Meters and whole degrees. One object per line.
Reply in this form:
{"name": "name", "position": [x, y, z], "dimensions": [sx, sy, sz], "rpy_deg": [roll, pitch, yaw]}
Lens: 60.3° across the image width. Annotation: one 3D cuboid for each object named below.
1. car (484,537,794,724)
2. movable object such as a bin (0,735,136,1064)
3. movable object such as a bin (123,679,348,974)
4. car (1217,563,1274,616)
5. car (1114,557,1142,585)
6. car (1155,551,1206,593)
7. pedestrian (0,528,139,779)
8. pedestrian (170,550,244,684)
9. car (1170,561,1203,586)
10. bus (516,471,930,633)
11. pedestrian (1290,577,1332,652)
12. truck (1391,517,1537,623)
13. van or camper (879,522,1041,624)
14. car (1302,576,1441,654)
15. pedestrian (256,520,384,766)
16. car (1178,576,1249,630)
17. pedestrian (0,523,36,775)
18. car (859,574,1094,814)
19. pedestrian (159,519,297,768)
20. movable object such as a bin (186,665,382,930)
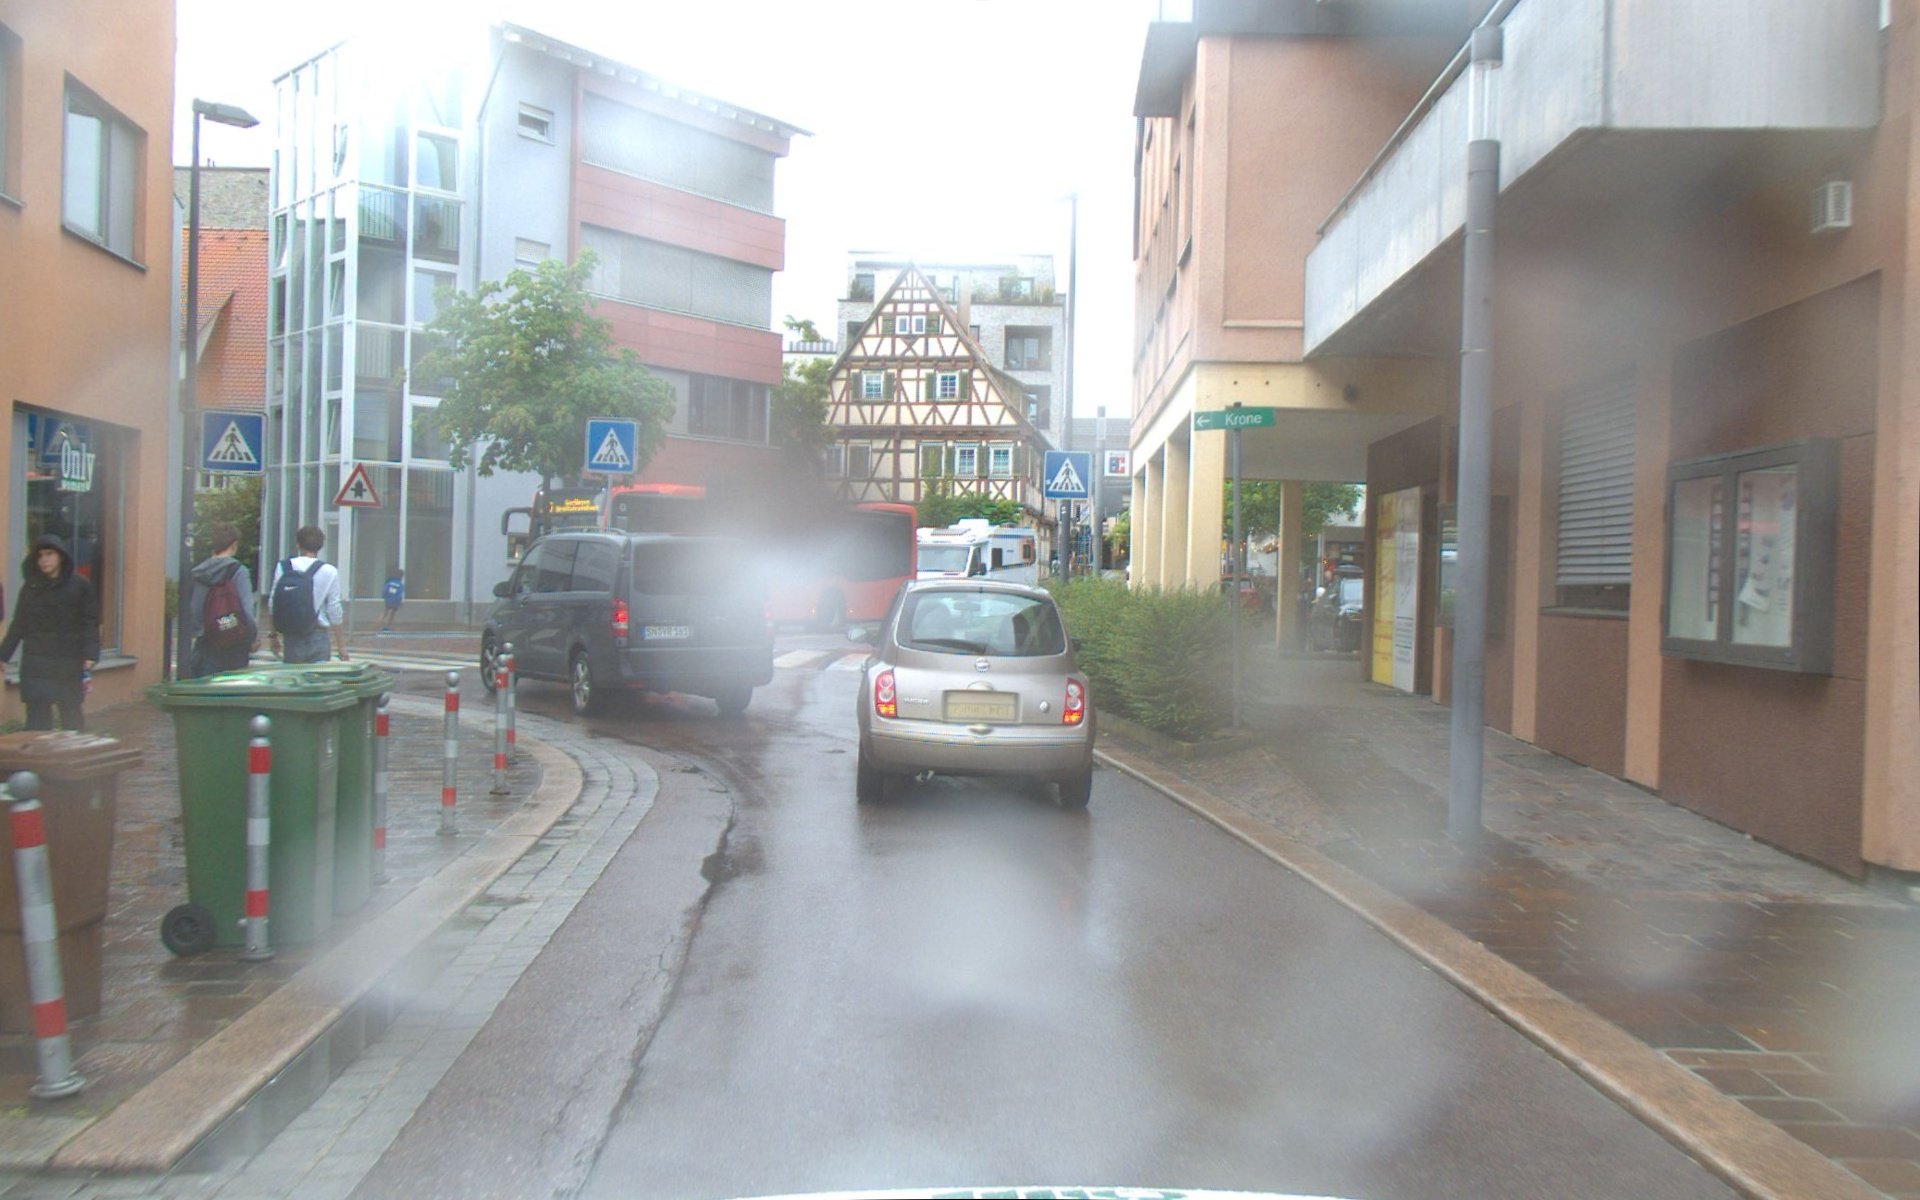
{"name": "car", "position": [-3.734, 0.249, 18.516], "dimensions": [1.927, 1.812, 4.677], "rpy_deg": [1, 1, -31]}
{"name": "movable object such as a bin", "position": [-3.061, 0.933, 5.300], "dimensions": [0.569, 0.943, 0.481], "rpy_deg": [2, 0, 2]}
{"name": "movable object such as a bin", "position": [-2.806, 0.857, 6.463], "dimensions": [0.644, 1.055, 0.609], "rpy_deg": [1, 0, -8]}
{"name": "car", "position": [8.691, -0.343, 50.507], "dimensions": [1.589, 1.527, 4.004], "rpy_deg": [-1, 1, 8]}
{"name": "car", "position": [10.762, -1.849, 105.577], "dimensions": [1.552, 1.742, 3.324], "rpy_deg": [2, 1, 9]}
{"name": "car", "position": [8.792, -1.095, 66.228], "dimensions": [1.856, 1.601, 4.003], "rpy_deg": [1, 1, 5]}
{"name": "pedestrian", "position": [-6.273, 0.358, 11.524], "dimensions": [0.701, 1.668, 0.745], "rpy_deg": [3, 0, -6]}
{"name": "pedestrian", "position": [-9.398, 0.200, 20.670], "dimensions": [0.647, 1.638, 0.683], "rpy_deg": [1, 1, -9]}
{"name": "car", "position": [14.395, -1.652, 105.224], "dimensions": [1.856, 1.534, 3.912], "rpy_deg": [1, 1, 5]}
{"name": "bus", "position": [-4.920, -1.020, 37.417], "dimensions": [2.765, 3.142, 10.571], "rpy_deg": [3, 2, 35]}
{"name": "pedestrian", "position": [8.097, 0.335, 38.130], "dimensions": [0.684, 1.690, 0.818], "rpy_deg": [1, 0, 33]}
{"name": "truck", "position": [9.398, -0.556, 31.118], "dimensions": [1.726, 1.839, 4.002], "rpy_deg": [1, 1, 4]}
{"name": "van or camper", "position": [0.139, -0.741, 46.979], "dimensions": [2.387, 2.630, 6.752], "rpy_deg": [2, 1, 20]}
{"name": "car", "position": [7.436, 0.234, 30.284], "dimensions": [1.725, 1.298, 4.474], "rpy_deg": [1, 1, 4]}
{"name": "pedestrian", "position": [-4.988, 0.316, 12.945], "dimensions": [0.650, 1.838, 1.060], "rpy_deg": [1, 0, -6]}
{"name": "car", "position": [7.047, 0.059, 45.768], "dimensions": [1.504, 1.385, 3.376], "rpy_deg": [2, 1, 16]}
{"name": "pedestrian", "position": [-6.903, 0.328, 11.378], "dimensions": [0.610, 1.742, 0.808], "rpy_deg": [3, 0, -6]}
{"name": "car", "position": [0.018, 0.585, 12.311], "dimensions": [1.492, 1.496, 3.340], "rpy_deg": [1, 1, -3]}
{"name": "pedestrian", "position": [-5.608, 0.319, 12.720], "dimensions": [0.679, 1.832, 1.056], "rpy_deg": [1, 0, -8]}
{"name": "movable object such as a bin", "position": [-2.896, 0.827, 7.140], "dimensions": [0.644, 1.054, 0.609], "rpy_deg": [0, 1, -8]}
